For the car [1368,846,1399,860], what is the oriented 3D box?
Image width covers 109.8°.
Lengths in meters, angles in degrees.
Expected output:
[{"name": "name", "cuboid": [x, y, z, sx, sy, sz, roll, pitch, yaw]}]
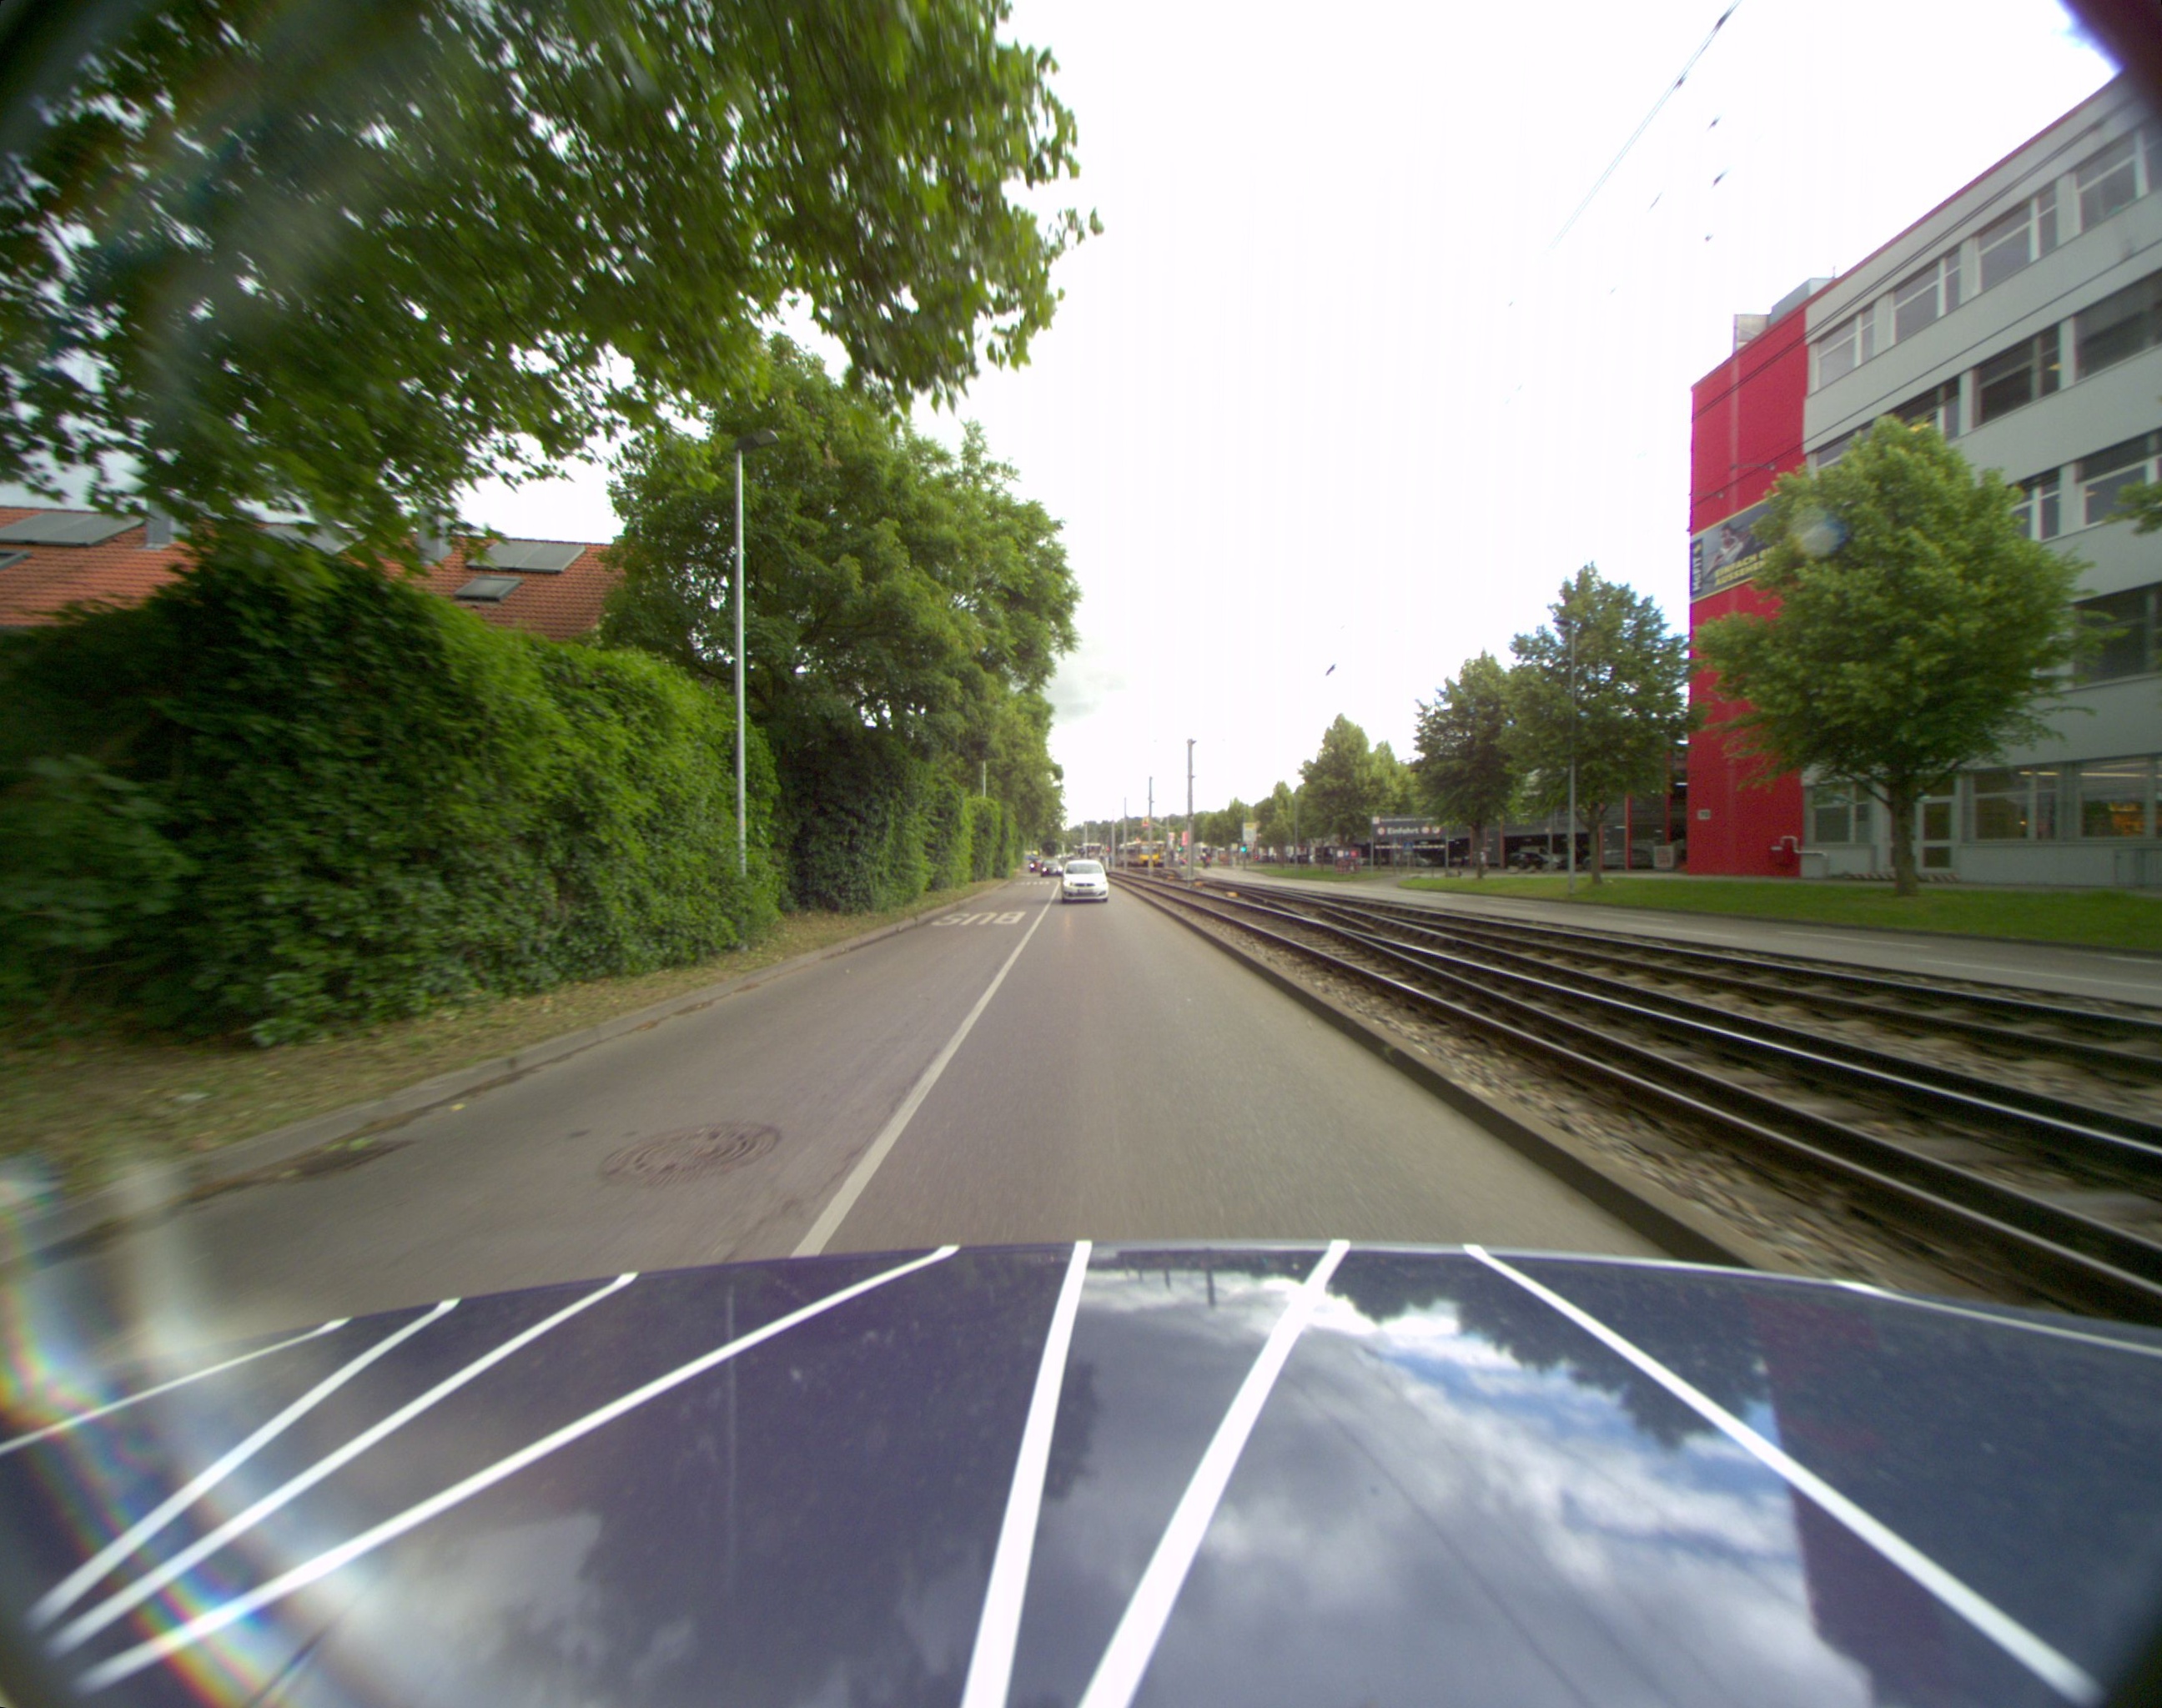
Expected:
[{"name": "car", "cuboid": [38.837, -0.149, 97.685, 1.999, 1.689, 4.404, -1, 0, -2]}]

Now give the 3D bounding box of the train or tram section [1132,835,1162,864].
[{"name": "train or tram section", "cuboid": [9.191, -0.573, 107.730, 2.778, 3.753, 13.785, -1, 0, -1]}]

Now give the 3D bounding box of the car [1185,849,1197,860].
[{"name": "car", "cuboid": [19.910, 0.107, 137.576, 1.997, 2.002, 4.002, -1, 0, 7]}]

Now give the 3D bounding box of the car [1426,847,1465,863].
[{"name": "car", "cuboid": [38.840, 0.096, 81.054, 1.999, 1.618, 4.404, -1, 0, -2]}]

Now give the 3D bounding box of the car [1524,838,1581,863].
[{"name": "car", "cuboid": [40.060, -0.296, 64.660, 1.999, 2.002, 4.404, -1, 0, -2]}]

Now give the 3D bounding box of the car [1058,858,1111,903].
[{"name": "car", "cuboid": [0.146, 0.908, 27.962, 1.764, 1.469, 4.031, -2, 0, 1]}]

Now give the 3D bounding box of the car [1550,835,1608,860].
[{"name": "car", "cuboid": [42.405, -0.529, 64.843, 1.999, 2.002, 4.404, -1, 0, -2]}]

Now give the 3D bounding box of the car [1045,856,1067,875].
[{"name": "car", "cuboid": [-2.169, 0.988, 66.913, 1.714, 1.586, 4.000, -1, 0, 1]}]
